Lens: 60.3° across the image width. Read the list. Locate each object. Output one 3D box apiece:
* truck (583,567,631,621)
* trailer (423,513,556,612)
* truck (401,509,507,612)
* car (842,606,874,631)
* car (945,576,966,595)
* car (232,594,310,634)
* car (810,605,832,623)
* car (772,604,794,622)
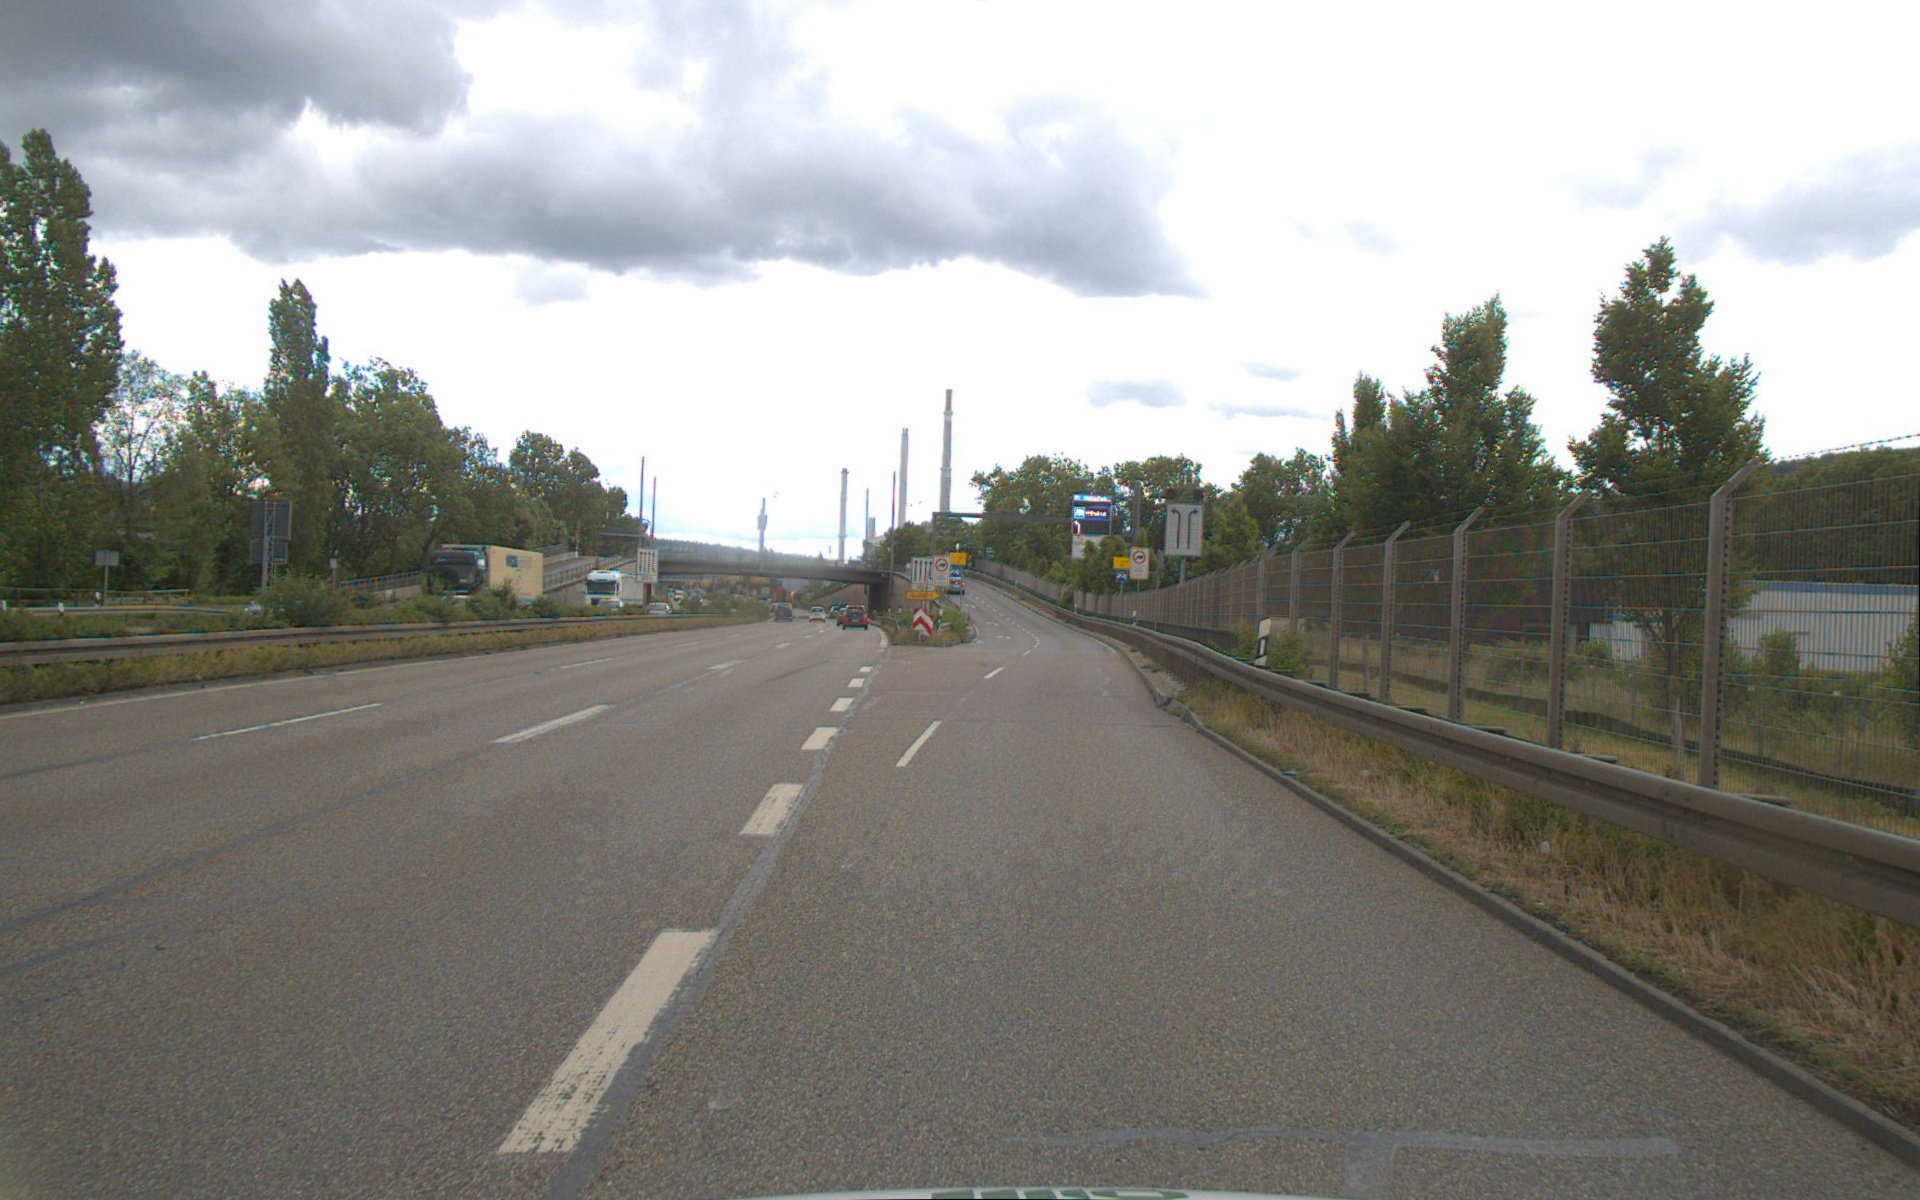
[{"bbox_3d":[-27.450,-0.444,128.826,2.735,4.006,5.308,2,-1,-4],"label":"truck"},{"bbox_3d":[-25.123,-1.857,89.417,3.394,4.754,14.774,2,0,-2],"label":"trailer"},{"bbox_3d":[-24.777,-1.866,81.353,3.394,4.754,6.208,2,0,-3],"label":"truck"},{"bbox_3d":[-6.668,1.175,107.644,1.954,1.444,3.997,2,1,-4],"label":"car"},{"bbox_3d":[-0.406,-1.377,156.152,1.714,1.608,4.086,-4,0,2],"label":"car"},{"bbox_3d":[-32.199,0.637,77.458,1.955,1.673,4.600,3,0,-5],"label":"car"},{"bbox_3d":[-14.064,1.389,167.393,1.953,1.713,3.999,2,1,-2],"label":"car"},{"bbox_3d":[-18.190,1.293,170.117,1.953,1.713,3.999,2,1,-2],"label":"car"}]
